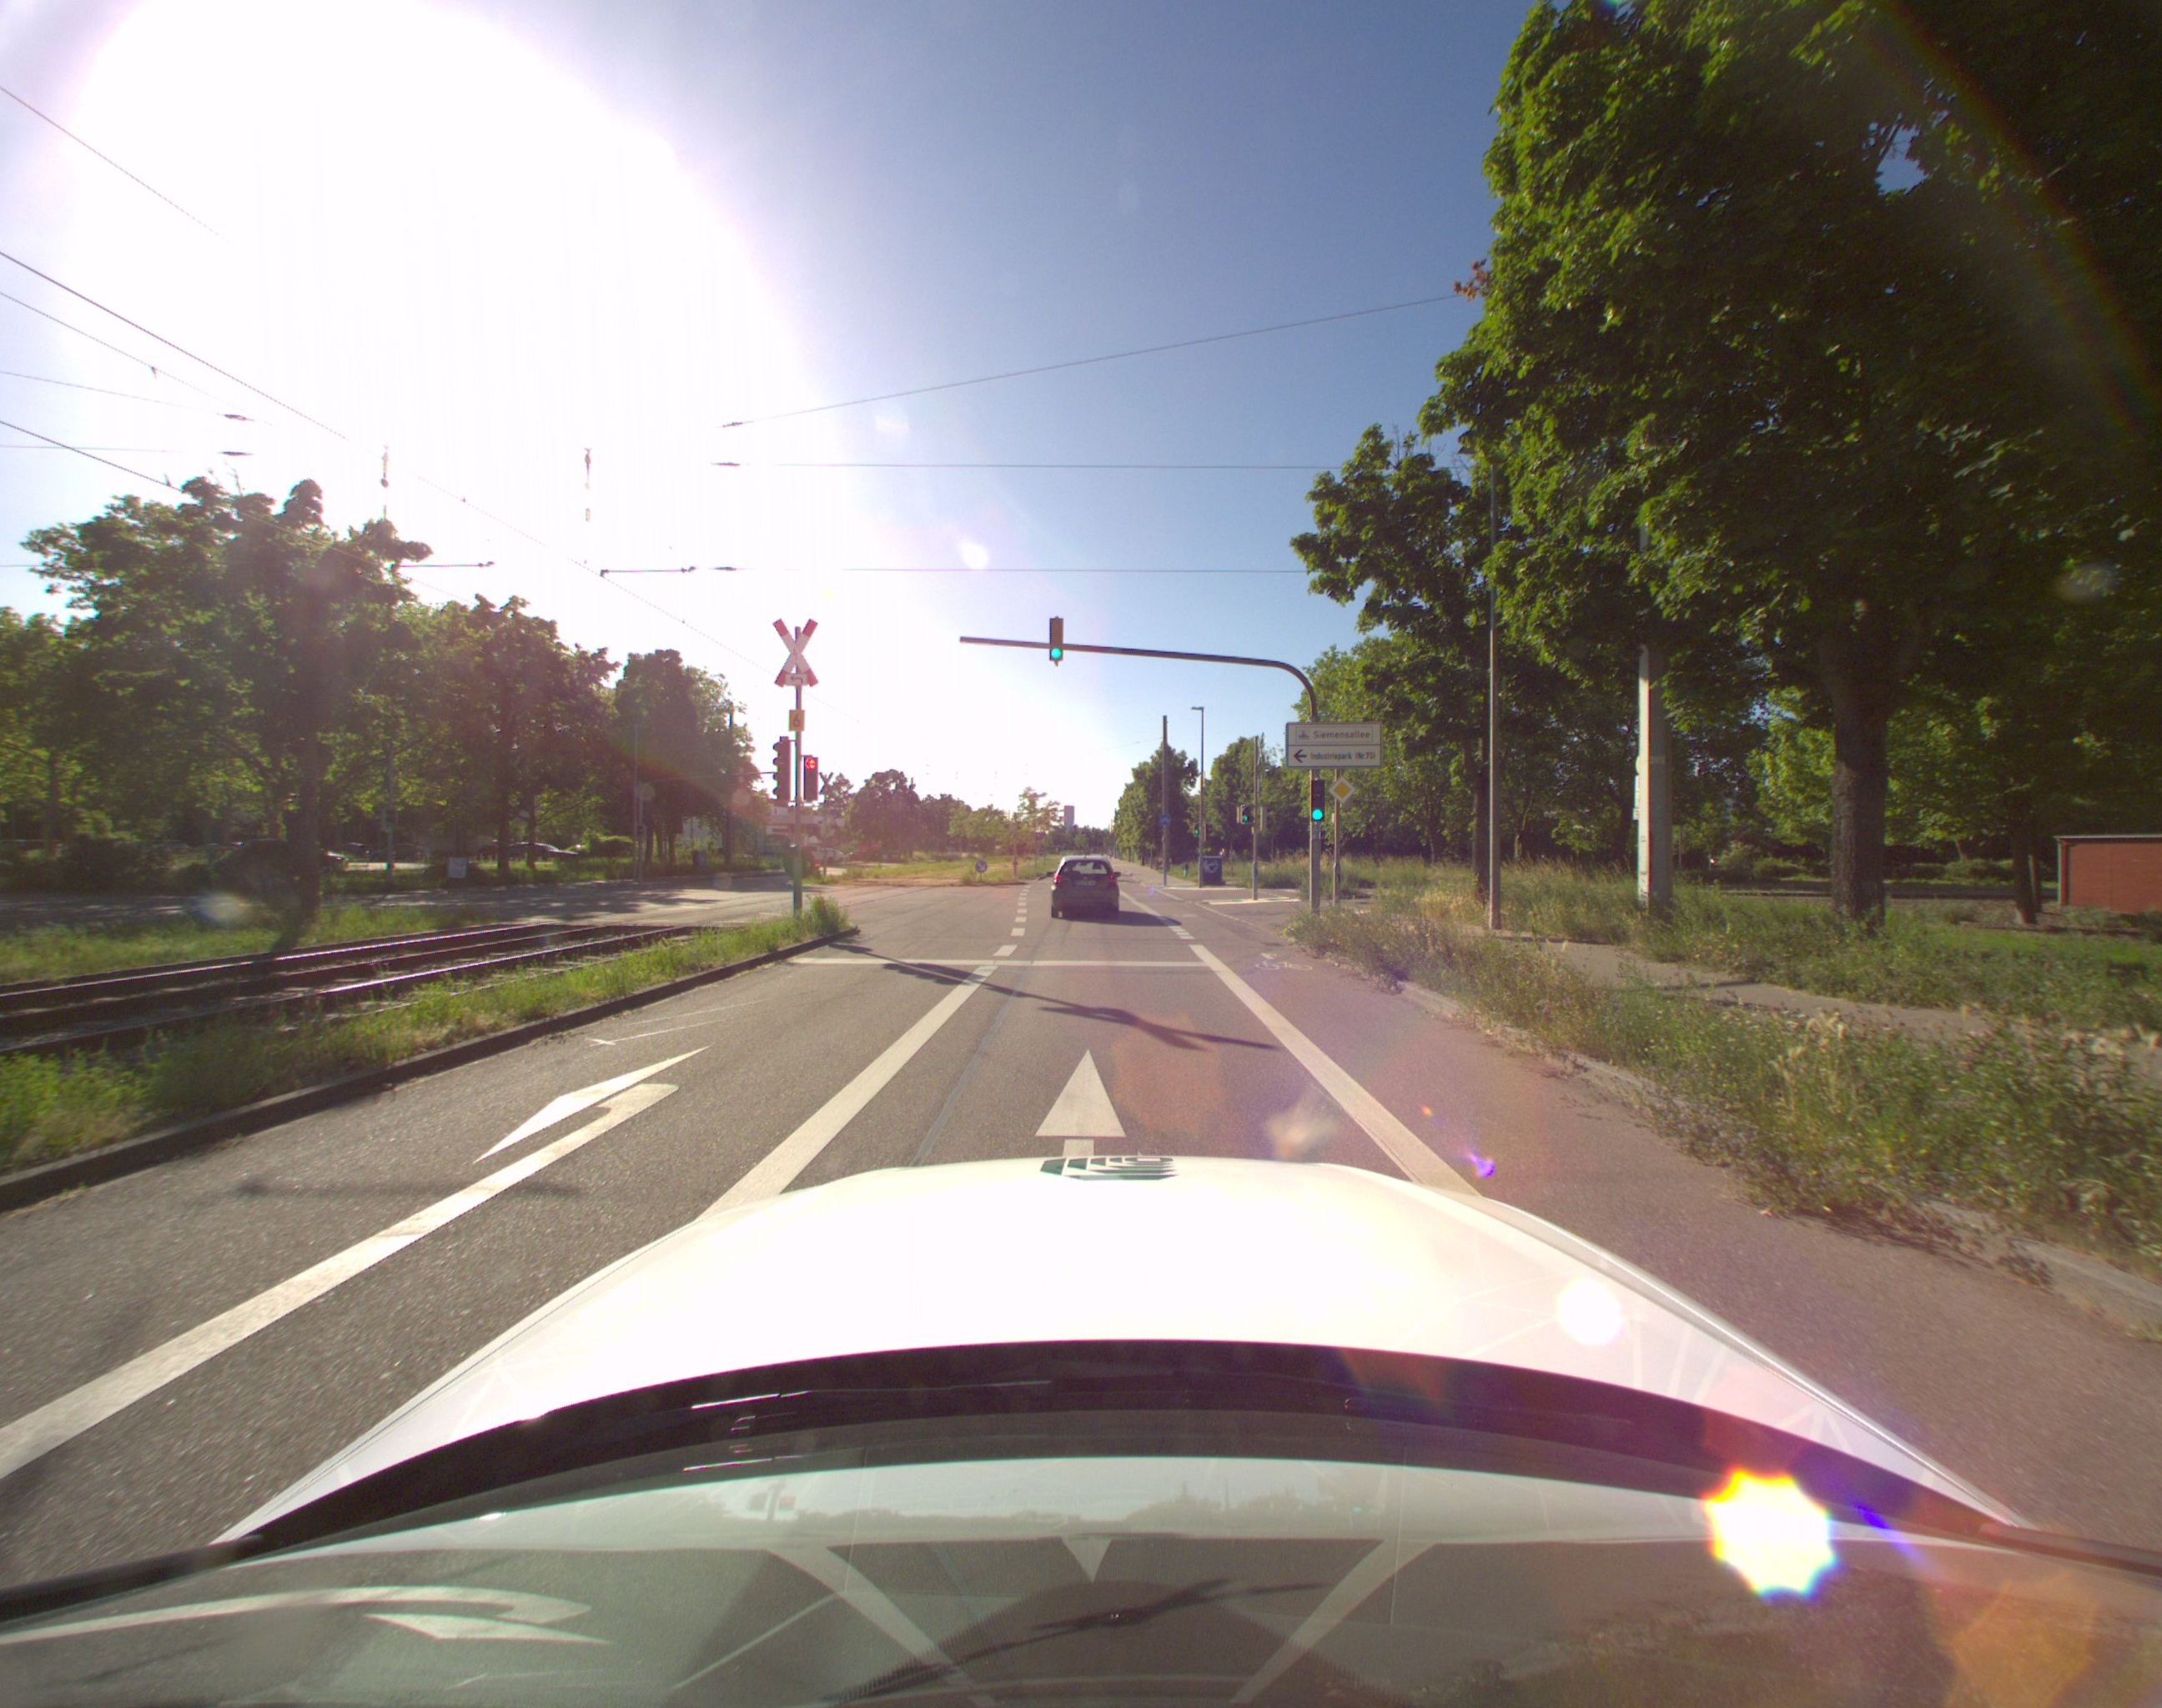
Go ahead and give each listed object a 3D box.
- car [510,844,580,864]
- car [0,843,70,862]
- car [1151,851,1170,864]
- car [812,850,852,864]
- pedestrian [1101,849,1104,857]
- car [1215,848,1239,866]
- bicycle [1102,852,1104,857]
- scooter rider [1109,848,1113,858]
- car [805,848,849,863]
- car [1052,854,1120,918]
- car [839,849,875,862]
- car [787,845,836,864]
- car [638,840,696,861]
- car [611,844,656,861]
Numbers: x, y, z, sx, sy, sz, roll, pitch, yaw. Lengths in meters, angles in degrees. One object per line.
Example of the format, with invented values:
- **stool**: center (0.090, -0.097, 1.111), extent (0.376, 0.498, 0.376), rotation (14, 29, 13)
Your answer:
- **car**: center (-39.657, 0.002, 60.308), extent (3.958, 1.432, 1.663), rotation (0, 0, -5)
- **car**: center (-83.142, -0.125, 64.355), extent (3.958, 1.432, 1.845), rotation (1, 0, -5)
- **car**: center (9.336, 0.393, 95.905), extent (1.770, 1.386, 3.866), rotation (-1, 0, -3)
- **car**: center (-29.046, 0.330, 95.241), extent (1.769, 1.471, 4.499), rotation (0, 1, 30)
- **pedestrian**: center (5.186, -0.177, 193.678), extent (0.720, 1.800, 1.164), rotation (0, 0, -1)
- **car**: center (17.125, 0.351, 95.640), extent (1.865, 1.966, 5.167), rotation (1, 0, 0)
- **bicycle**: center (5.187, 0.142, 193.669), extent (0.510, 1.241, 3.089), rotation (0, 0, 0)
- **scooter rider**: center (5.374, -0.211, 147.667), extent (0.714, 1.901, 0.934), rotation (0, 0, -2)
- **car**: center (-28.437, 0.149, 91.389), extent (1.769, 1.528, 4.499), rotation (0, 1, 38)
- **car**: center (0.168, 0.766, 21.039), extent (1.618, 1.499, 3.458), rotation (0, 0, 1)
- **car**: center (-28.463, 0.166, 103.397), extent (4.060, 1.568, 1.791), rotation (0, 0, -2)
- **car**: center (-28.638, -0.001, 86.656), extent (1.837, 1.974, 4.817), rotation (0, 1, 38)
- **car**: center (-41.562, -0.387, 81.811), extent (4.707, 2.091, 2.020), rotation (0, 0, -1)
- **car**: center (-40.902, -0.133, 74.557), extent (1.570, 1.544, 4.093), rotation (1, 0, 4)
